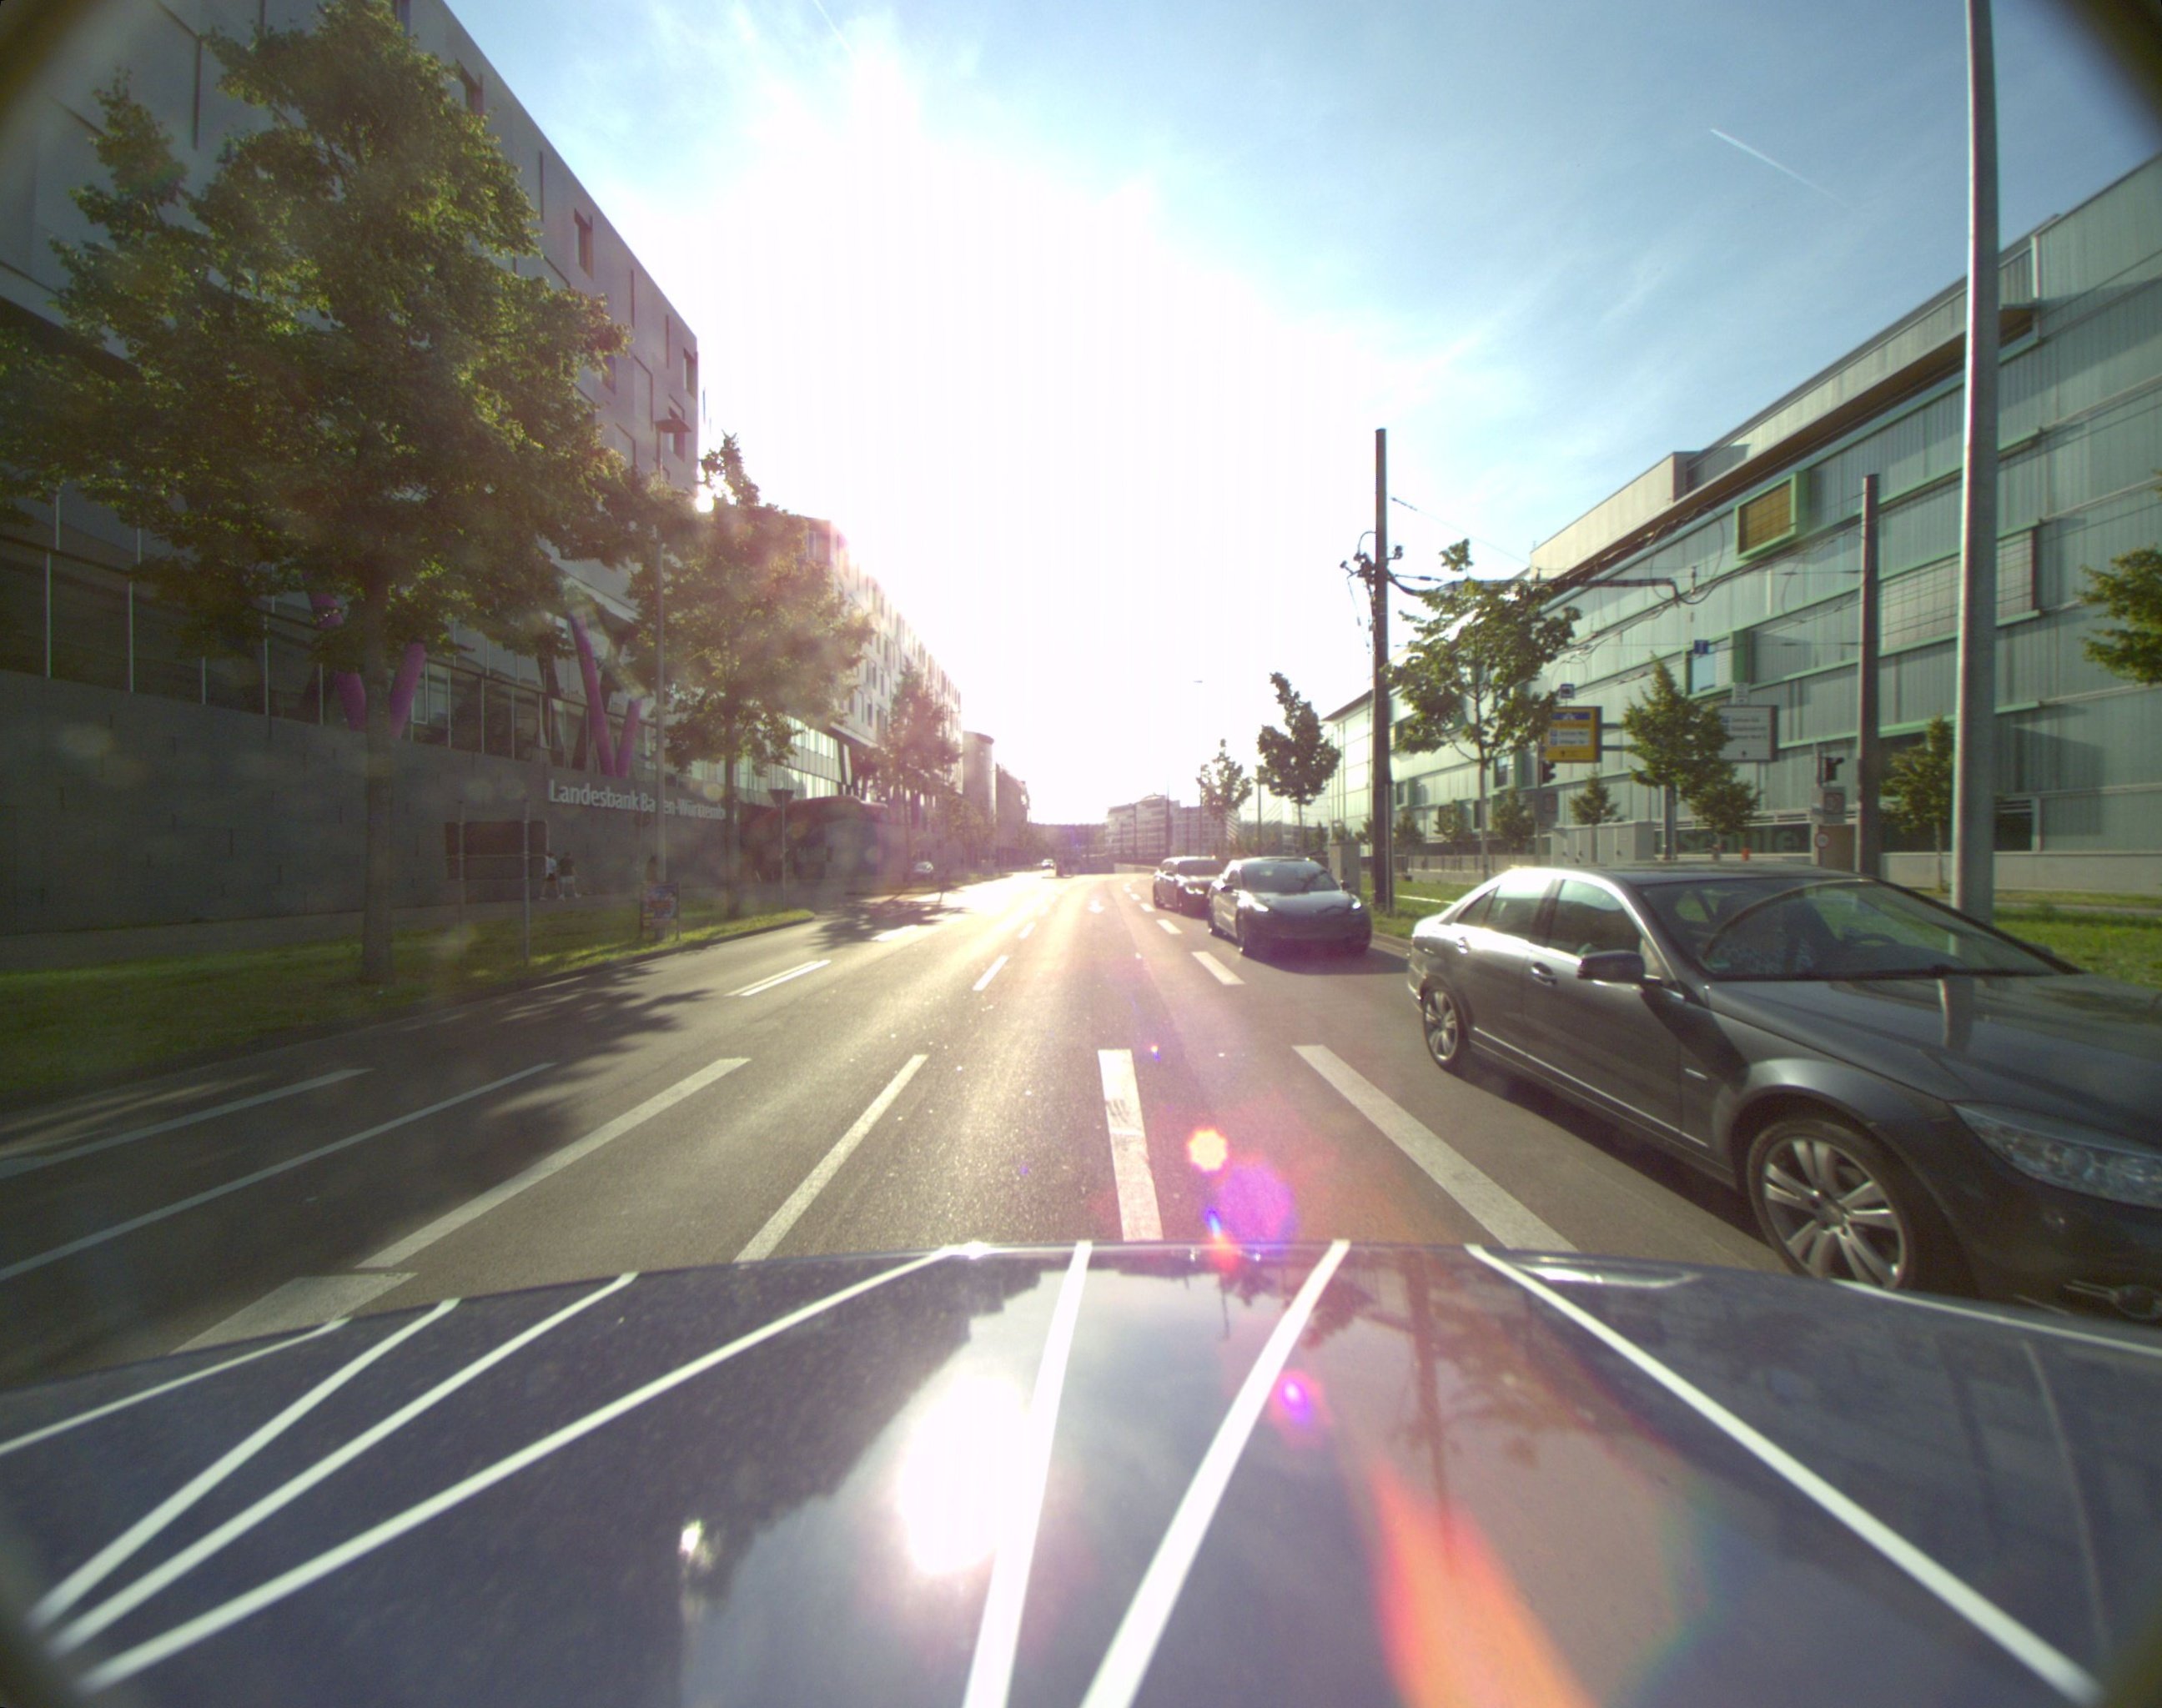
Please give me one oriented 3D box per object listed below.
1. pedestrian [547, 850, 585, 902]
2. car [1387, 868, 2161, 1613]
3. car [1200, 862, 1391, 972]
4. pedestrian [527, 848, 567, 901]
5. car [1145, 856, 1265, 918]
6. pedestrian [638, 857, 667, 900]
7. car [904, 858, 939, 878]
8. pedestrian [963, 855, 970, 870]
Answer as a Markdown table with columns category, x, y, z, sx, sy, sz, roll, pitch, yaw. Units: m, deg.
| category | x | y | z | sx | sy | sz | roll | pitch | yaw |
| --- | --- | --- | --- | --- | --- | --- | --- | --- | --- |
| pedestrian | -18.187 | 0.775 | 26.849 | 0.756 | 1.783 | 0.844 | 2 | 0 | 0 |
| car | 3.224 | 0.862 | 3.650 | 1.791 | 1.470 | 4.354 | -2 | 0 | 1 |
| car | 3.218 | 0.872 | 12.341 | 1.894 | 1.377 | 4.335 | -2 | 0 | 1 |
| pedestrian | -18.781 | 0.708 | 26.748 | 0.770 | 1.814 | 0.853 | 2 | 0 | 0 |
| car | 3.184 | 0.811 | 20.530 | 1.896 | 1.418 | 4.470 | -2 | 0 | -8 |
| pedestrian | -16.542 | 0.931 | 29.315 | 0.695 | 1.629 | 0.737 | 0 | 0 | 0 |
| car | -11.603 | 0.991 | 55.592 | 1.696 | 1.382 | 4.199 | 0 | -1 | -1 |
| pedestrian | -13.678 | 1.018 | 90.494 | 0.725 | 1.776 | 0.771 | 0 | 1 | 0 |
